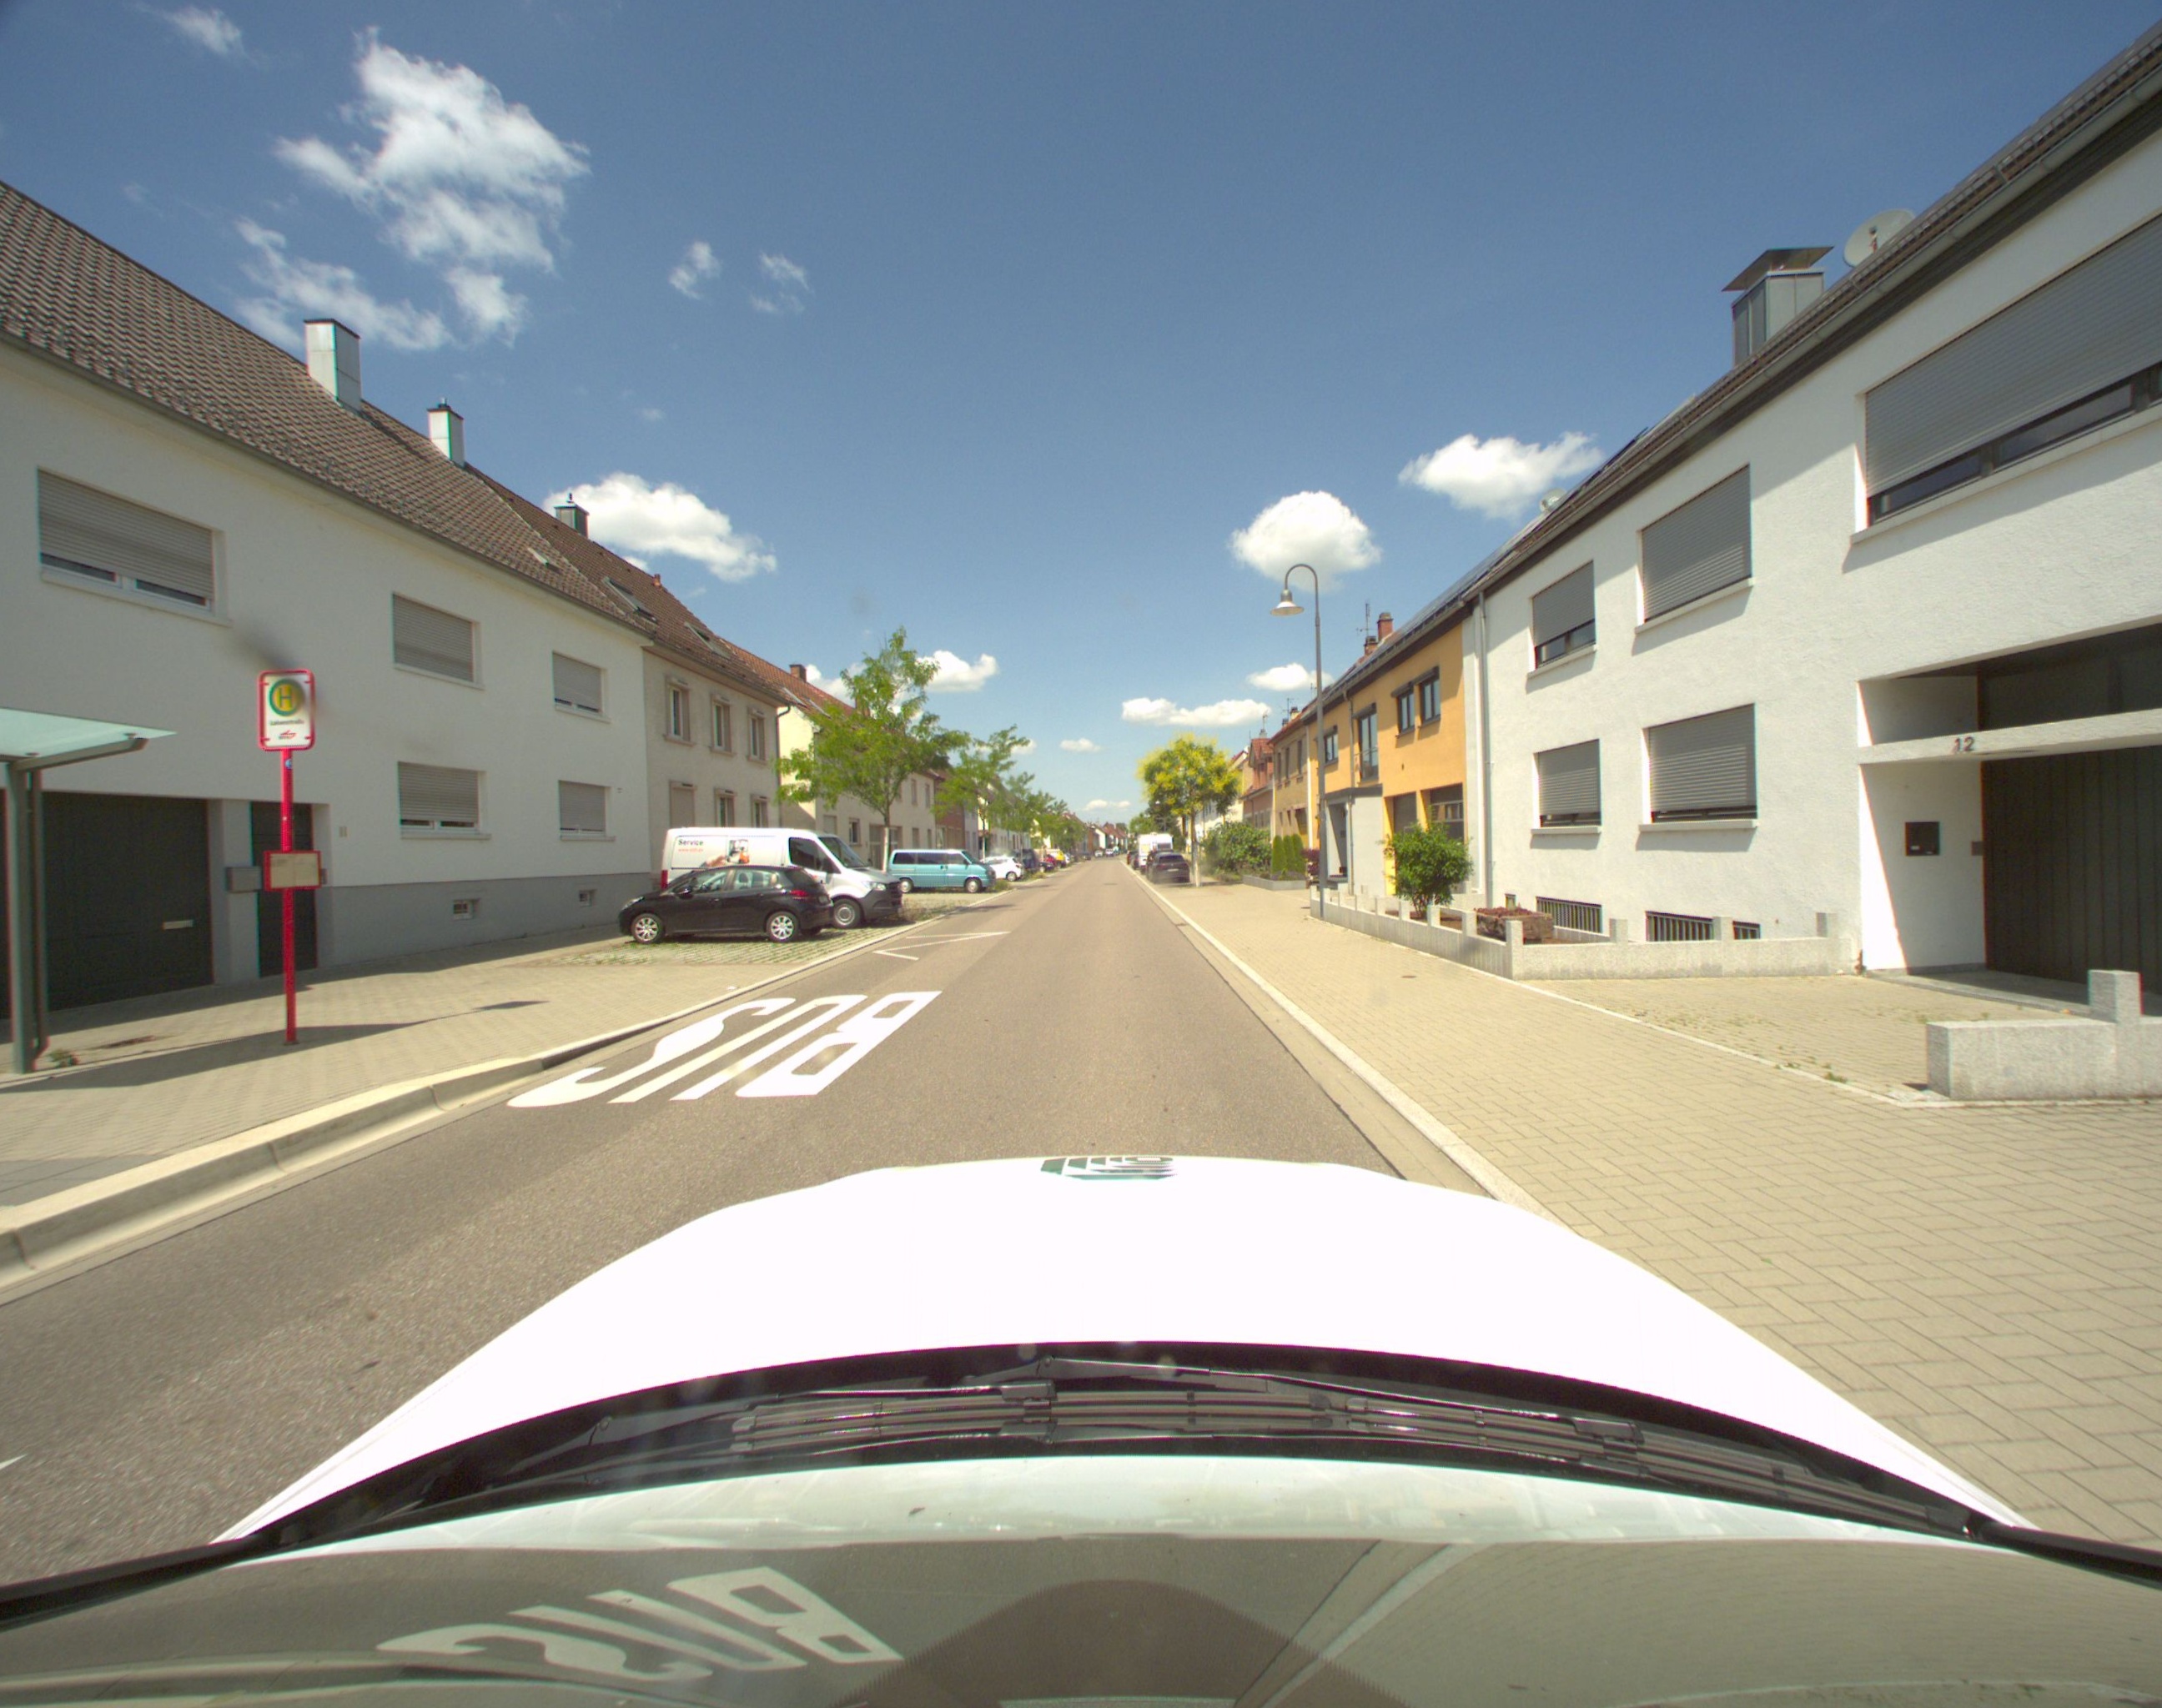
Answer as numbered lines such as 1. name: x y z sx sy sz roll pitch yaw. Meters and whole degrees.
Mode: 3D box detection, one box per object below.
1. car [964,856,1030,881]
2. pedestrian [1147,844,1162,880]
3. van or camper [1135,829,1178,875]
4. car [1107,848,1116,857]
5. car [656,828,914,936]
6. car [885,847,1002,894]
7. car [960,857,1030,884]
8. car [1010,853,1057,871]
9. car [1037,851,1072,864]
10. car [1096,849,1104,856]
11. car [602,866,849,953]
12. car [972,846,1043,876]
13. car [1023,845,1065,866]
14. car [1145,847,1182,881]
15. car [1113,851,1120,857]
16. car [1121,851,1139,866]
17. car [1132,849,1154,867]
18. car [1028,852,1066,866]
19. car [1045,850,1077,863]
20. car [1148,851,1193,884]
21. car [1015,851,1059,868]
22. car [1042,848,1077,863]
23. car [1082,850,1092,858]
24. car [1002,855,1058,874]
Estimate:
1. car: -5.339 0.918 52.166 3.899 1.488 1.774 -1 0 4
2. pedestrian: 3.859 0.416 42.739 0.713 1.853 0.578 -2 0 2
3. van or camper: 5.144 -0.158 56.094 2.464 2.810 5.793 -4 0 2
4. car: 7.469 -0.311 200.936 2.015 1.950 4.900 -3 0 1
5. car: -6.710 0.601 18.931 5.149 2.288 2.157 -1 0 0
6. car: -5.899 0.721 35.338 4.658 1.906 2.001 -1 0 2
7. car: -5.166 0.962 49.218 3.899 1.488 1.774 -1 0 4
8. car: -4.244 0.684 72.502 4.041 1.478 1.775 -1 0 -1
9. car: -3.333 0.441 102.412 4.276 1.468 1.776 -2 0 3
10. car: 4.779 -0.306 205.884 1.841 1.659 4.006 0 0 5
11. car: -6.858 1.050 16.070 3.975 1.445 1.901 -2 0 -1
12. car: -5.052 0.476 56.431 4.593 1.996 1.955 -1 0 3
13. car: -4.055 0.175 89.845 4.491 2.177 1.926 -1 0 2
14. car: 4.525 0.515 45.394 1.760 1.705 4.328 -2 0 3
15. car: 10.021 0.017 229.525 1.756 1.522 4.050 -4 0 1
16. car: 5.934 0.535 98.024 1.856 1.635 4.452 -5 1 5
17. car: 5.365 0.331 70.775 1.760 1.529 4.010 -2 0 3
18. car: -3.634 0.529 87.390 3.994 1.459 1.756 -1 0 2
19. car: -2.706 0.351 109.280 4.171 1.568 1.773 -1 0 -2
20. car: 4.317 0.620 39.928 1.761 1.488 4.296 -2 0 1
21. car: -4.440 0.514 81.968 4.238 1.611 1.843 -1 0 1
22. car: -2.891 0.167 111.996 4.682 1.923 1.939 -1 0 2
23. car: 1.127 -0.038 157.030 1.810 1.433 4.139 1 2 0
24. car: -4.251 0.866 68.840 4.507 1.425 1.796 -1 0 1
